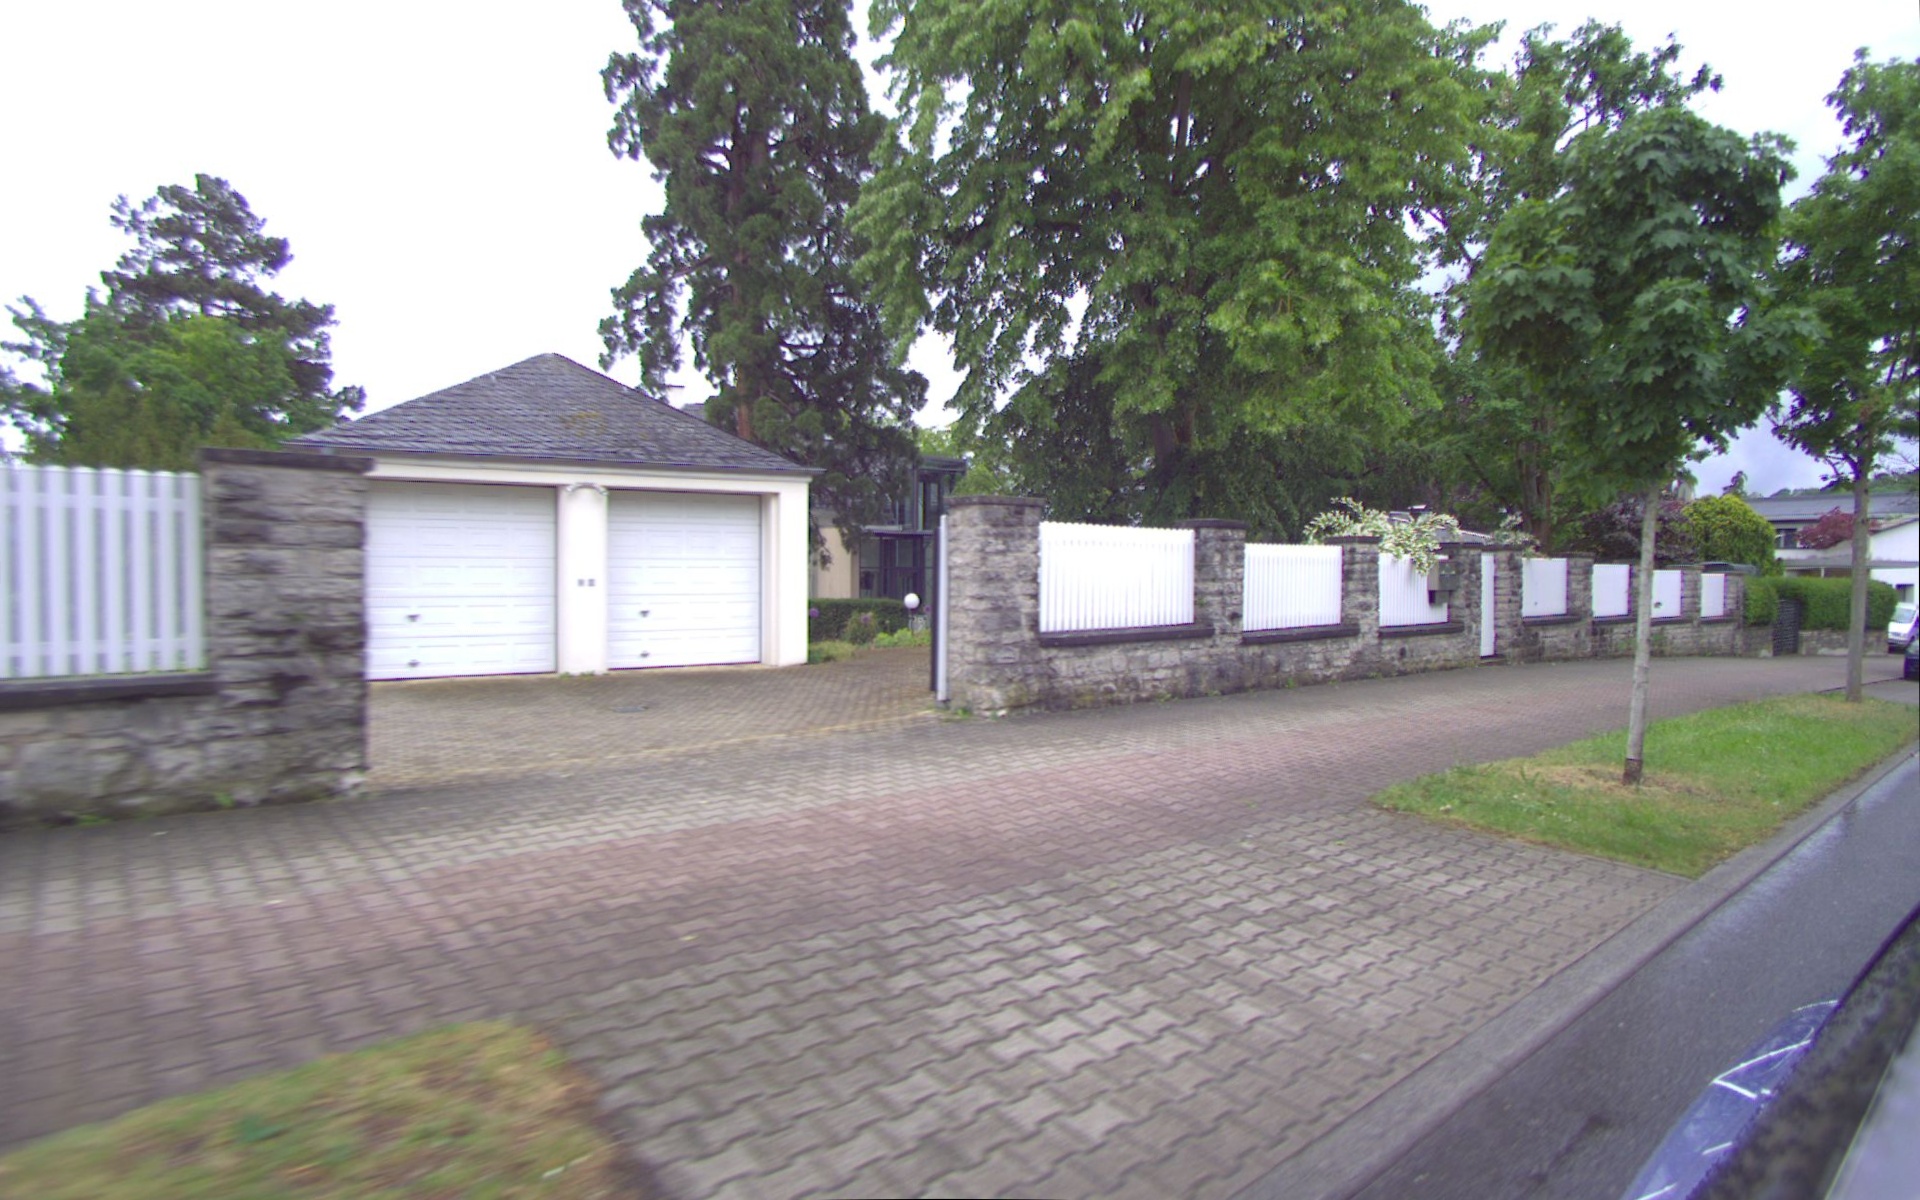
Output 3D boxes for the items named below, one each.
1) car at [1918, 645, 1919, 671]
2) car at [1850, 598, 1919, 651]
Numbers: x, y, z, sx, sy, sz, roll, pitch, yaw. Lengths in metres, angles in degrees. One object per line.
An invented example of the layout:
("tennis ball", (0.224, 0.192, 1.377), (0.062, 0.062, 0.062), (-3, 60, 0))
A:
("car", (22.188, 0.868, 21.777), (3.758, 1.394, 1.647), (1, 3, -37))
("car", (35.091, 0.901, 37.580), (4.847, 1.779, 1.801), (1, 1, -34))
